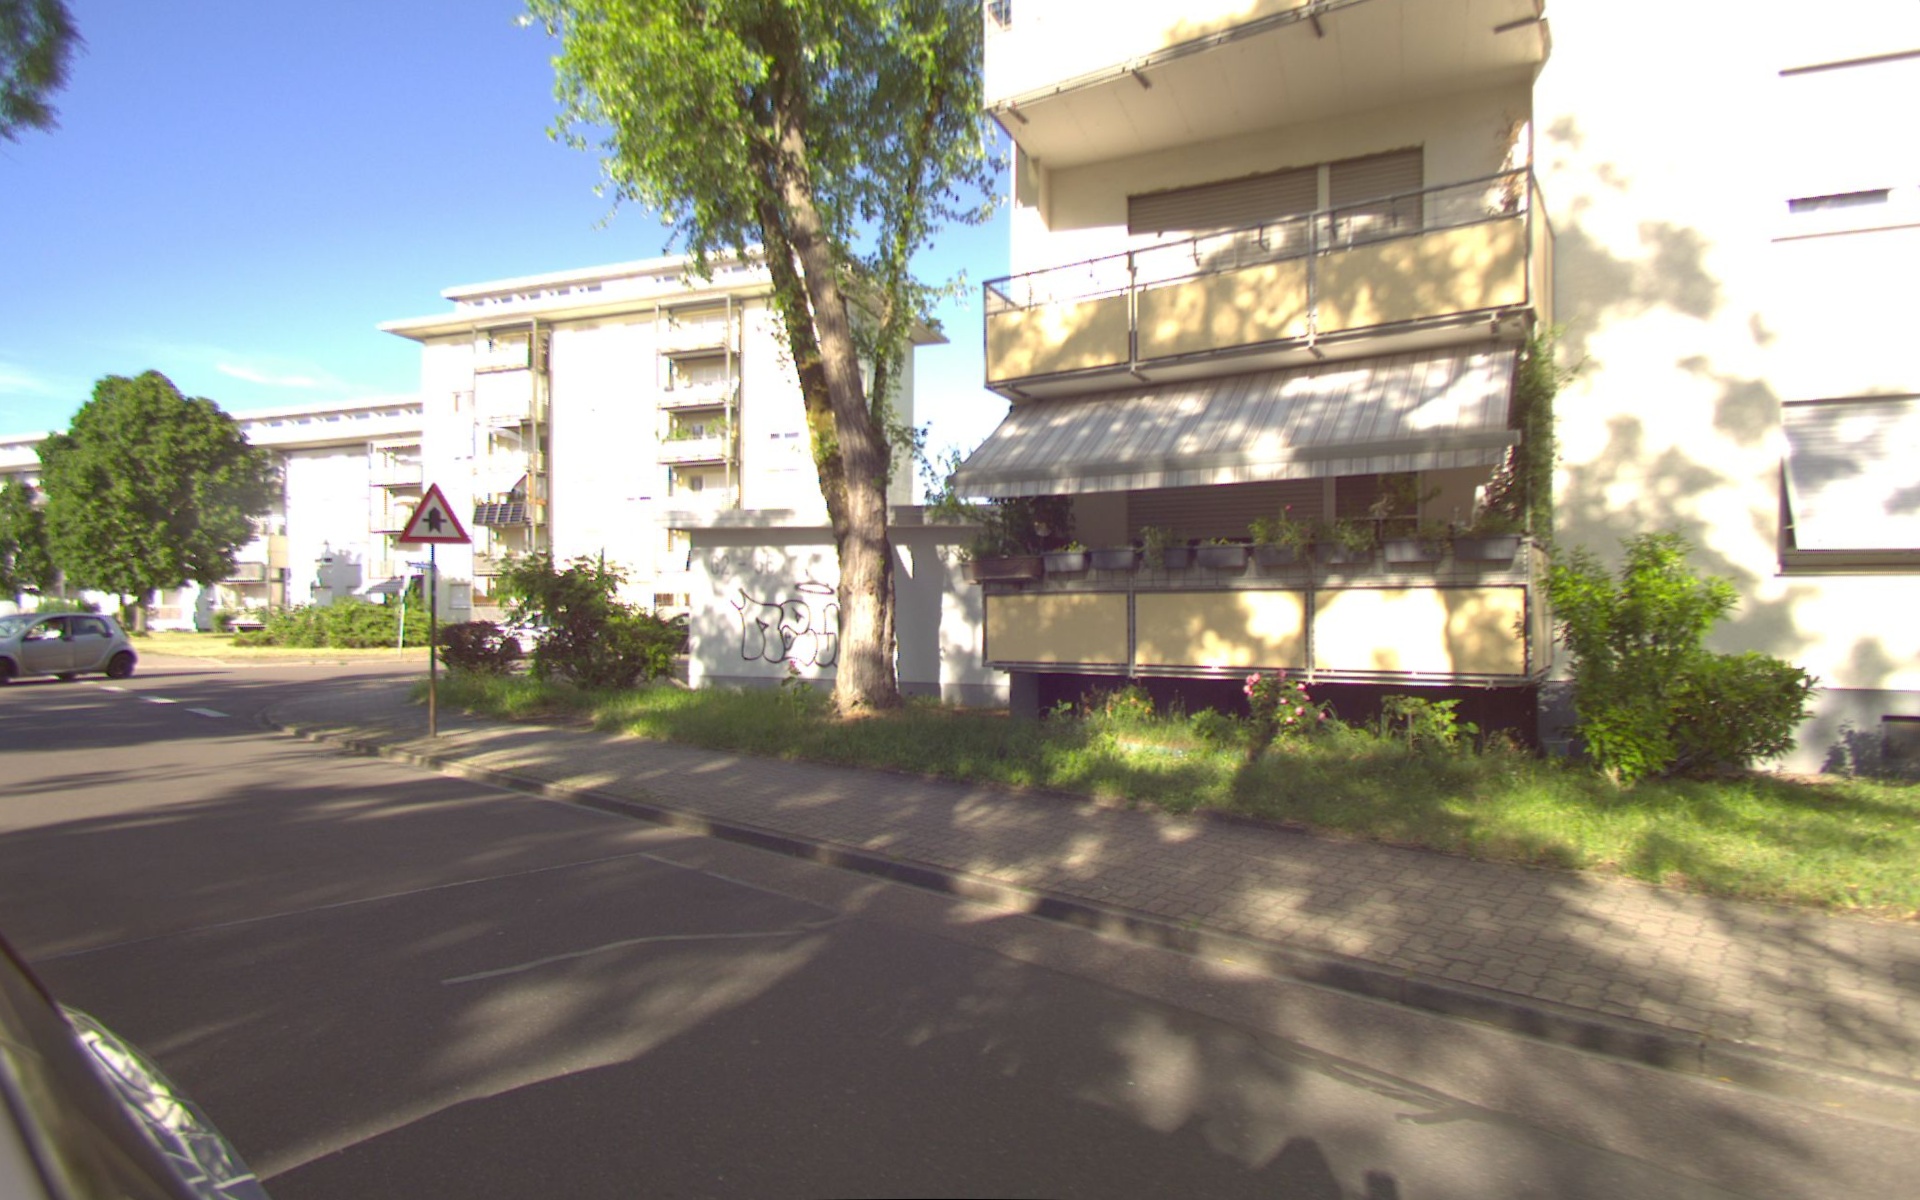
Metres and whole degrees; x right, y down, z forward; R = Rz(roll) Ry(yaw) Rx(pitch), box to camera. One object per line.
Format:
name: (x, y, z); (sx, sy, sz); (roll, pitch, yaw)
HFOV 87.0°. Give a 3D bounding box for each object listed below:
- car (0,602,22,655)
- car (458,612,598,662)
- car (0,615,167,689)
car: (-35.651, 1.036, 36.588); (4.612, 1.861, 1.982); (-1, 1, 40)
car: (-13.284, 1.111, 31.235); (3.672, 1.436, 1.535); (0, -1, -42)
car: (-19.187, 1.064, 20.984); (1.583, 1.436, 4.150); (1, -3, 15)
